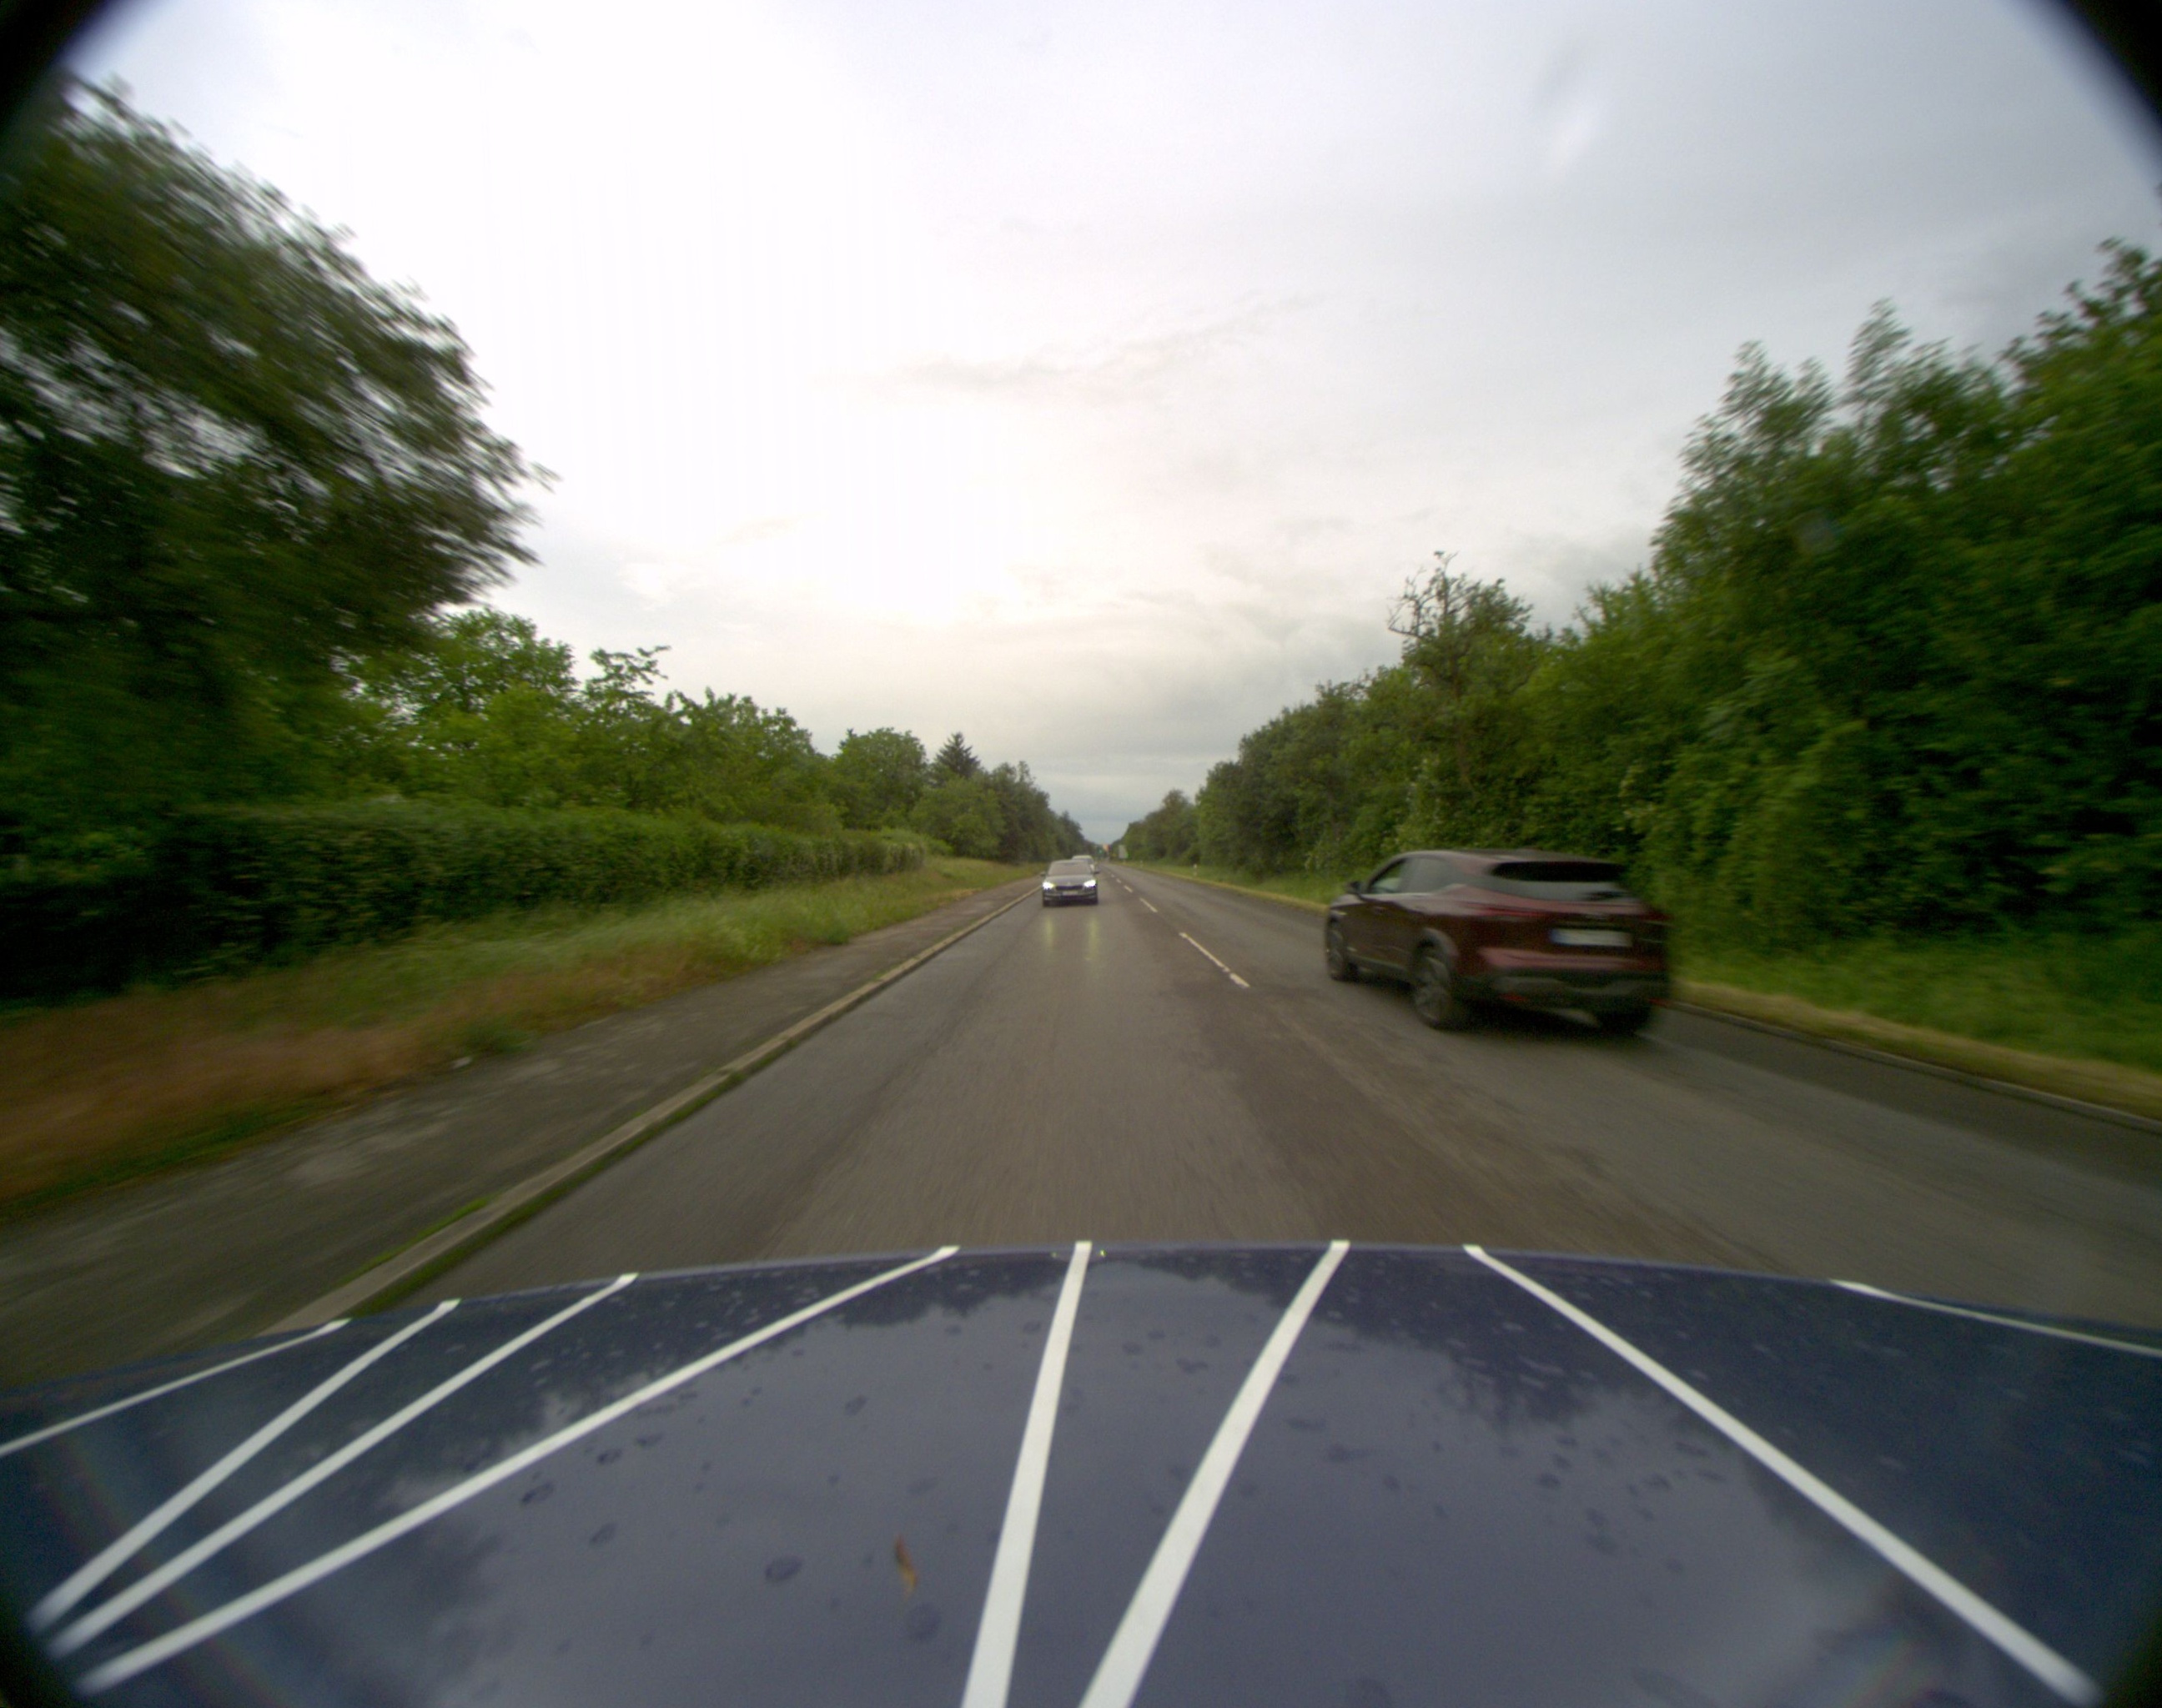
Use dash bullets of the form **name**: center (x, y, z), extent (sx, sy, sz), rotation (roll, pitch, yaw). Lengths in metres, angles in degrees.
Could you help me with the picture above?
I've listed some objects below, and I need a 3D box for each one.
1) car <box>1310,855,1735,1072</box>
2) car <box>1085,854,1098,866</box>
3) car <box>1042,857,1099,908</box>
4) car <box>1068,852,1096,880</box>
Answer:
- **car**: center (3.889, 0.800, 7.801), extent (1.910, 1.547, 4.516), rotation (0, 0, 3)
- **car**: center (1.589, 0.894, 111.910), extent (1.856, 1.686, 4.000), rotation (0, 0, 2)
- **car**: center (-0.296, 0.889, 25.522), extent (1.675, 1.477, 4.215), rotation (-3, -1, 1)
- **car**: center (0.080, 0.722, 49.306), extent (1.704, 1.723, 4.000), rotation (-1, 0, 0)
